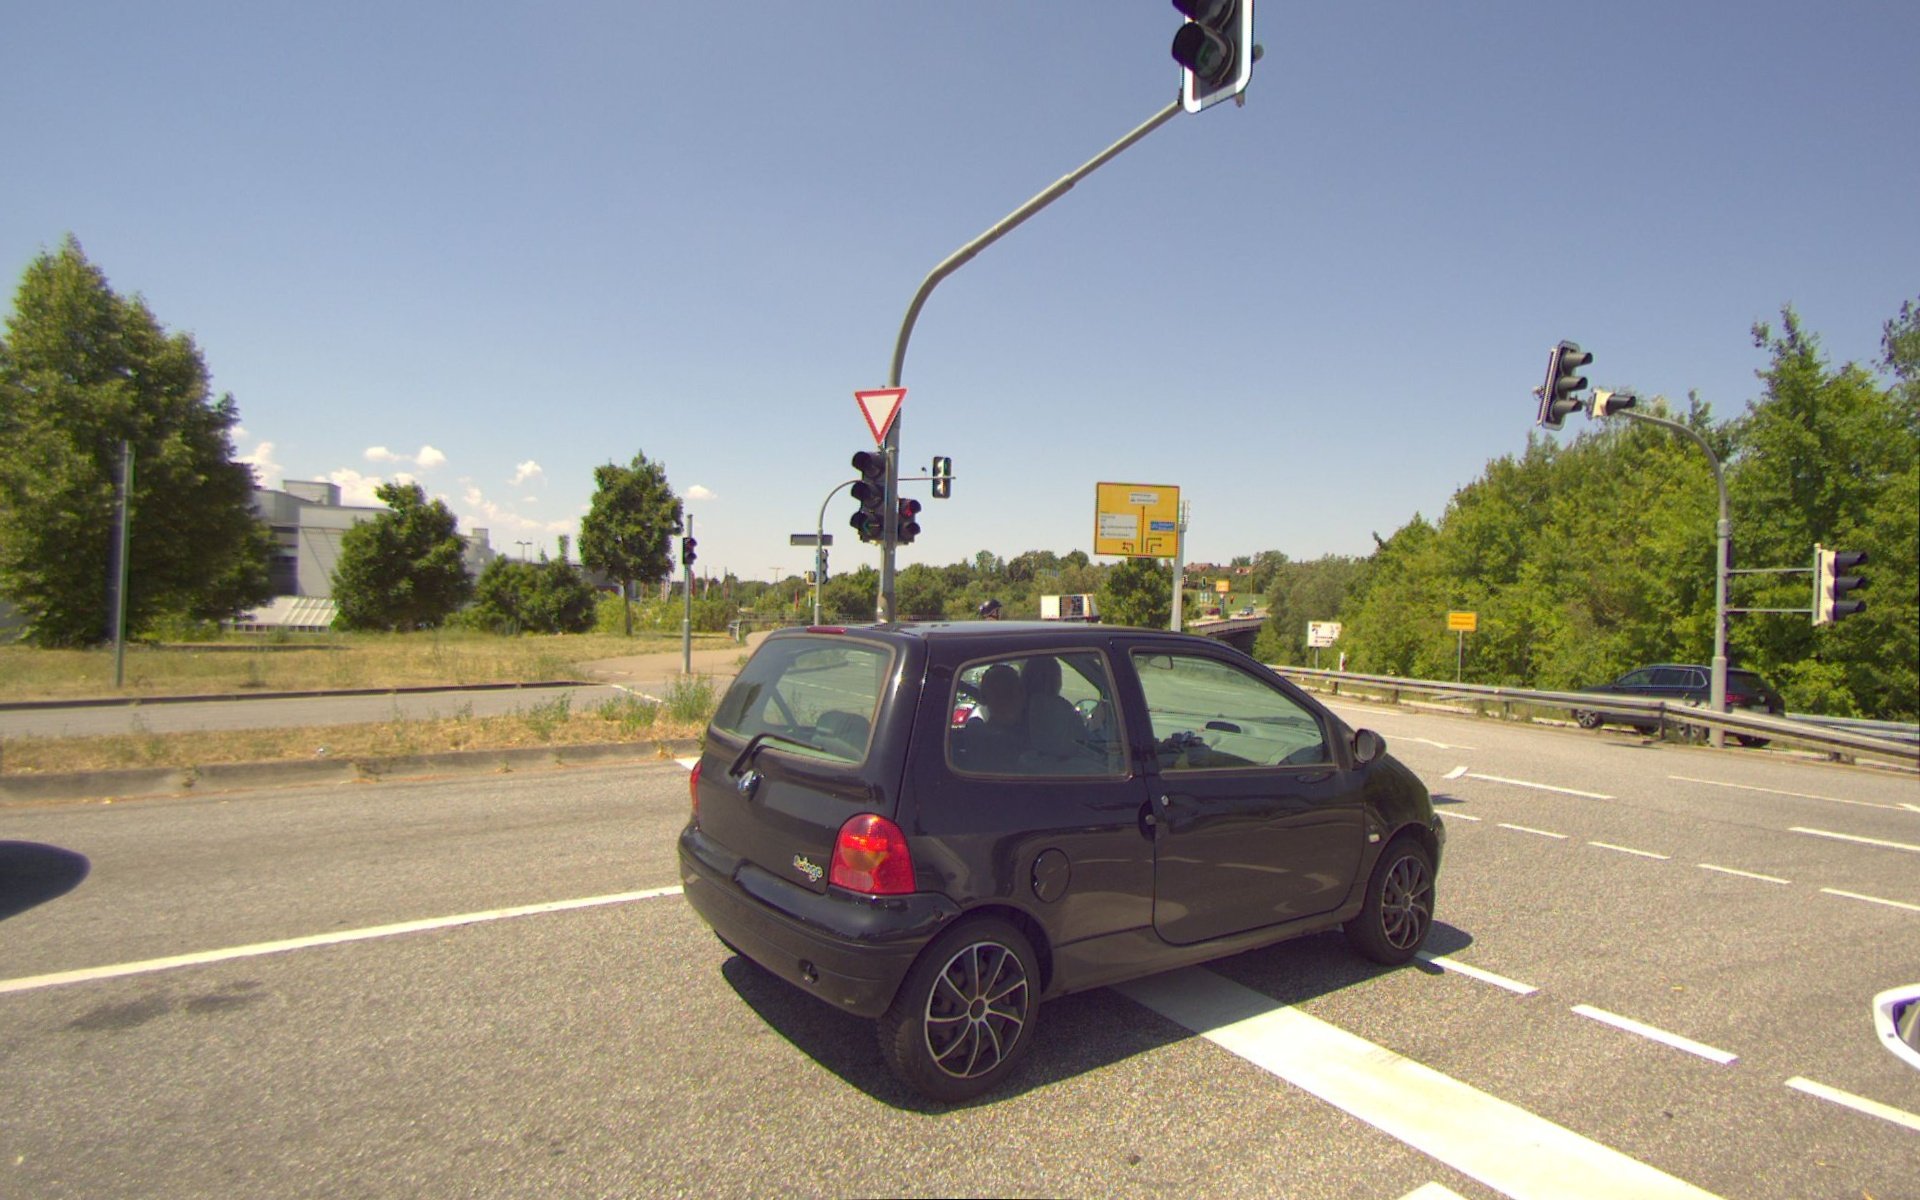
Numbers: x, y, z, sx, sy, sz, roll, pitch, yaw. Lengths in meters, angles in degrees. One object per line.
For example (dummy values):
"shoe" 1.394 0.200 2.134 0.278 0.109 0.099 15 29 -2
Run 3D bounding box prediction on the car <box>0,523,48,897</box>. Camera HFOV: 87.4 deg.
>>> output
"car" -6.178 0.416 3.341 4.466 1.622 1.861 2 0 -38

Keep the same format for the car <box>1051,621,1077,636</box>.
"car" 12.659 3.466 121.685 1.778 1.452 3.925 4 -1 26

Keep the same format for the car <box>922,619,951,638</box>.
"car" -1.902 2.366 83.153 1.614 1.413 3.994 5 -1 10

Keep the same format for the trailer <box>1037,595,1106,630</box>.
"trailer" 14.963 1.580 132.921 3.184 4.305 15.376 2 1 30

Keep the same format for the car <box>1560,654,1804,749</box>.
"car" 16.043 2.199 22.635 1.872 1.653 4.267 6 -2 -11

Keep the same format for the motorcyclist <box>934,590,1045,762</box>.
"motorcyclist" 0.294 0.707 9.696 0.604 1.560 0.842 3 0 42

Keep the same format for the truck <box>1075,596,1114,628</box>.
"truck" 18.762 1.636 139.545 3.184 4.305 6.224 2 1 30

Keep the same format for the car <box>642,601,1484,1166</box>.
"car" 0.567 0.775 4.208 3.269 1.426 1.608 2 0 -37

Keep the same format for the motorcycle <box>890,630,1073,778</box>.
"motorcycle" 0.254 0.942 9.574 0.570 1.255 1.931 3 0 42
